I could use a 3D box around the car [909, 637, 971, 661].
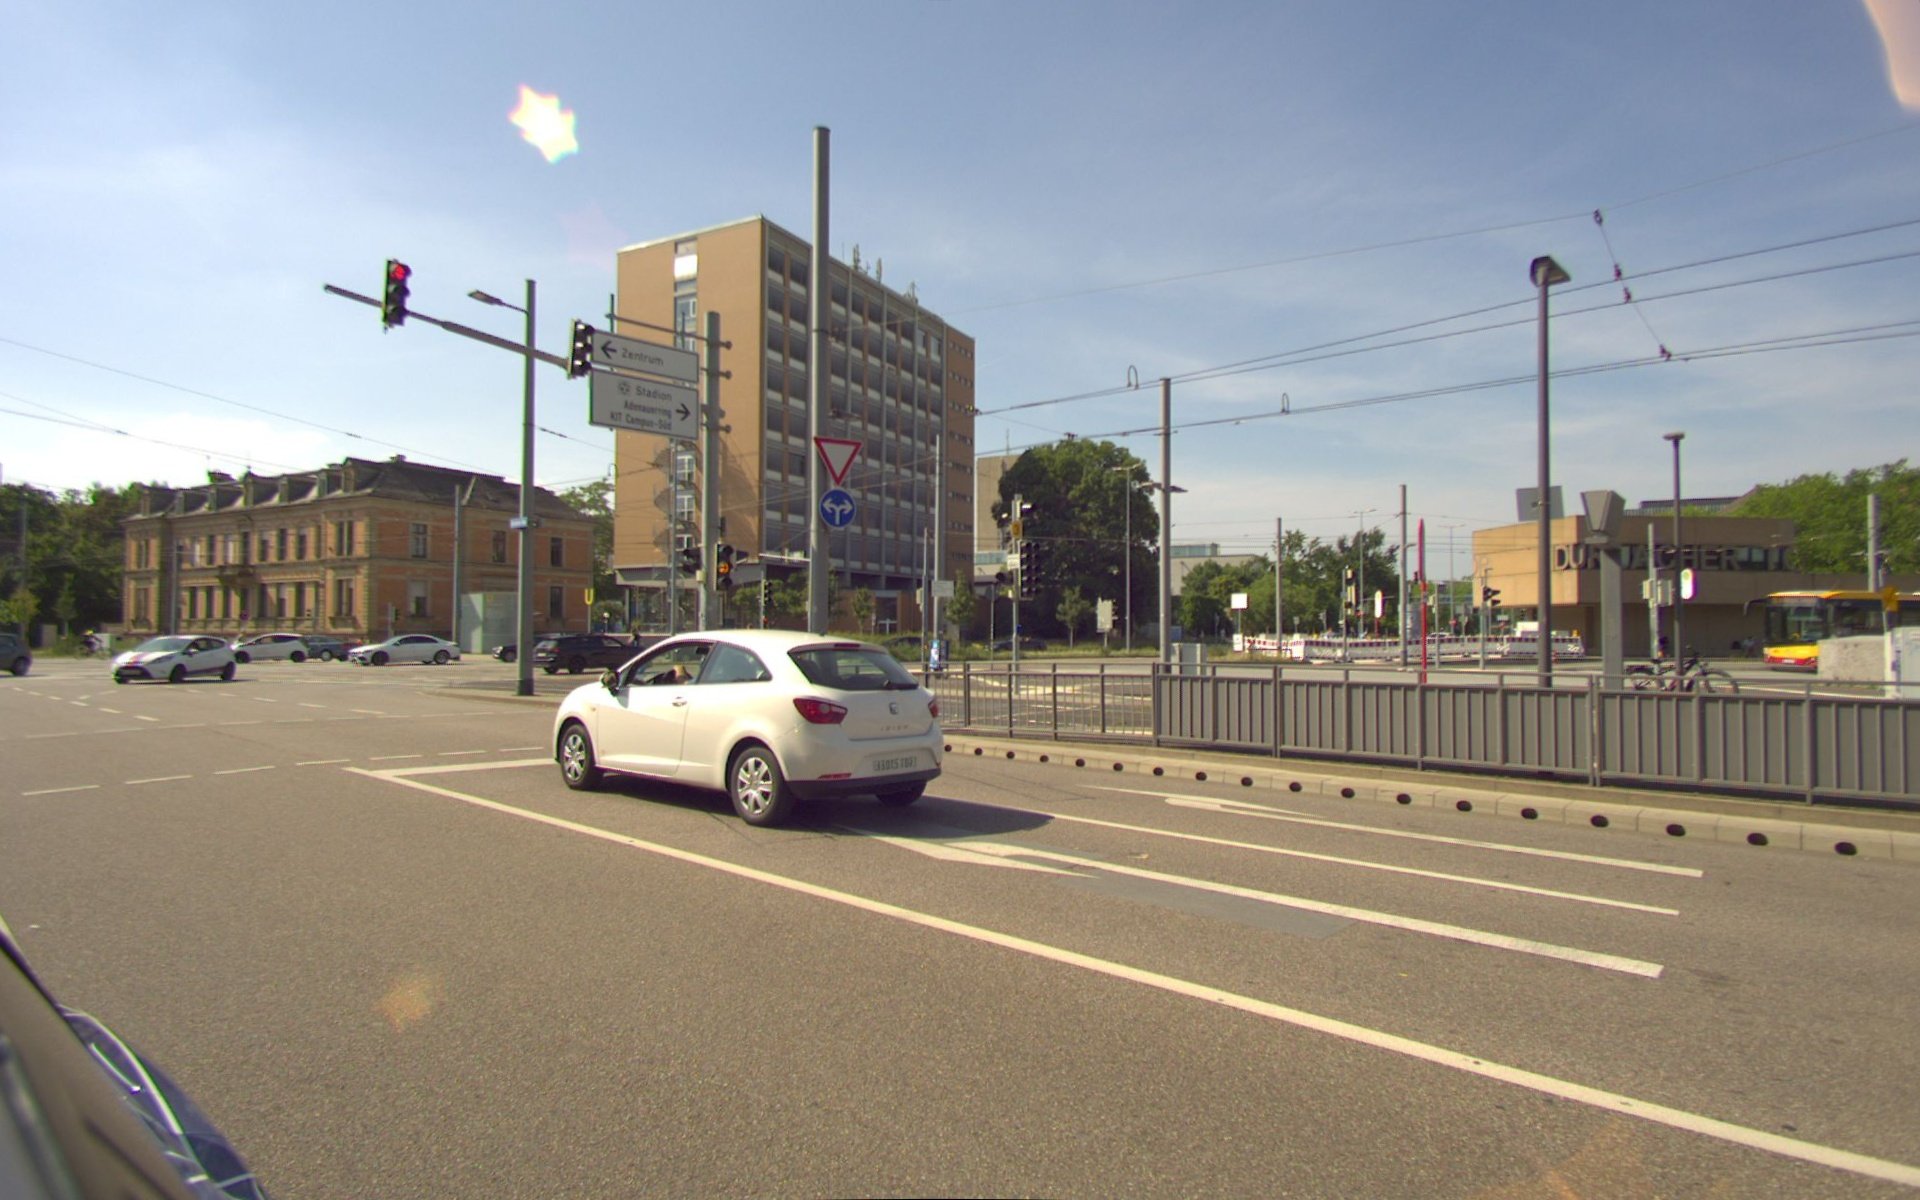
[{"bbox_3d":[-1.404,3.435,70.951,3.934,1.630,1.915,1,-3,-36],"label":"car"}]

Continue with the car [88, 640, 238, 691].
[{"bbox_3d":[-24.095,1.944,30.770,1.631,1.425,3.865,0,-2,-3],"label":"car"}]

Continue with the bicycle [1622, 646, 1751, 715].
[{"bbox_3d":[12.022,1.328,16.796,0.406,1.079,1.668,2,-5,-30],"label":"bicycle"}]

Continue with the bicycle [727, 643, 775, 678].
[{"bbox_3d":[-7.212,2.070,34.881,0.740,1.092,1.851,1,-1,-42],"label":"bicycle"}]

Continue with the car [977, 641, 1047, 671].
[{"bbox_3d":[3.466,3.657,66.810,4.357,1.896,2.004,1,-3,-37],"label":"car"}]

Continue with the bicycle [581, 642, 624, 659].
[{"bbox_3d":[-22.499,3.156,63.716,2.424,1.077,0.670,0,-2,-8],"label":"bicycle"}]

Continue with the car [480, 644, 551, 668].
[{"bbox_3d":[-25.053,3.128,57.048,3.519,1.305,1.414,1,-3,-28],"label":"car"}]

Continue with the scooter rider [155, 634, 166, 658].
[{"bbox_3d":[-47.761,2.737,60.463,0.400,1.408,0.590,0,-4,-32],"label":"scooter rider"}]

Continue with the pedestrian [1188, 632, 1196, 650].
[{"bbox_3d":[23.146,4.074,100.965,0.643,1.777,0.469,-1,-1,37],"label":"pedestrian"}]

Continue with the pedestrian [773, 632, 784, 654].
[{"bbox_3d":[-14.140,3.326,78.914,0.719,1.677,0.595,0,-1,-32],"label":"pedestrian"}]

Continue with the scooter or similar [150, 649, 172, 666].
[{"bbox_3d":[-47.716,3.459,60.431,0.975,0.983,0.590,0,-4,-32],"label":"scooter or similar"}]

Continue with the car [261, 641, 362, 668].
[{"bbox_3d":[-35.961,3.010,56.225,4.459,1.446,1.638,0,-2,-5],"label":"car"}]

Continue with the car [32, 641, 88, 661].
[{"bbox_3d":[-62.652,3.535,70.440,3.432,1.323,1.658,-1,-3,25],"label":"car"}]

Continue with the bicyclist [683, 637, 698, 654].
[{"bbox_3d":[-17.315,2.904,64.920,0.707,1.036,0.916,0,0,2],"label":"bicyclist"}]

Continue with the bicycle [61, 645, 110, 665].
[{"bbox_3d":[-50.060,3.171,57.977,1.991,1.077,0.687,0,-4,-28],"label":"bicycle"}]

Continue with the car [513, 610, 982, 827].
[{"bbox_3d":[-1.962,0.907,8.635,4.122,1.409,1.736,-2,-7,41],"label":"car"}]

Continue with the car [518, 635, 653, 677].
[{"bbox_3d":[-13.880,2.081,37.637,4.353,1.467,1.763,3,-4,-40],"label":"car"}]

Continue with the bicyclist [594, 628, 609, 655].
[{"bbox_3d":[-22.604,2.602,63.772,0.770,1.636,0.670,0,-1,-9],"label":"bicyclist"}]

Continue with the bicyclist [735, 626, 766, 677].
[{"bbox_3d":[-7.214,1.758,34.908,0.740,1.697,0.777,1,-1,-43],"label":"bicyclist"}]

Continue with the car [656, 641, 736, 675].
[{"bbox_3d":[-14.598,3.190,55.993,3.931,1.807,1.970,1,-2,-29],"label":"car"}]

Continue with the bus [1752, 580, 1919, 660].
[{"bbox_3d":[36.174,0.676,37.610,11.610,2.703,2.761,-2,-4,-4],"label":"bus"}]

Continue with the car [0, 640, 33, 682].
[{"bbox_3d":[-33.838,2.061,33.922,1.630,1.435,4.116,-2,-4,3],"label":"car"}]

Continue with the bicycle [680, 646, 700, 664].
[{"bbox_3d":[-17.313,3.520,64.883,0.707,1.023,1.918,0,0,1],"label":"bicycle"}]

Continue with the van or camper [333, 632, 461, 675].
[{"bbox_3d":[-26.097,2.434,47.047,1.921,1.902,4.851,-3,-3,44],"label":"van or camper"}]

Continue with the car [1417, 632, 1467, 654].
[{"bbox_3d":[34.281,3.048,71.935,3.940,1.431,1.805,1,-5,-44],"label":"car"}]

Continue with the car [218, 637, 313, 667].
[{"bbox_3d":[-34.641,2.570,50.573,3.695,1.486,1.688,1,-2,-28],"label":"car"}]

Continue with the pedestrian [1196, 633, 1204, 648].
[{"bbox_3d":[23.850,4.032,100.457,0.643,1.457,0.562,-1,-1,37],"label":"pedestrian"}]

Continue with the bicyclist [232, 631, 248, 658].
[{"bbox_3d":[-43.182,2.676,60.690,0.638,1.633,0.503,1,-5,-27],"label":"bicyclist"}]

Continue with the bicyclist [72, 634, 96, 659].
[{"bbox_3d":[-50.146,2.656,57.946,0.894,1.431,0.687,0,-4,-28],"label":"bicyclist"}]
